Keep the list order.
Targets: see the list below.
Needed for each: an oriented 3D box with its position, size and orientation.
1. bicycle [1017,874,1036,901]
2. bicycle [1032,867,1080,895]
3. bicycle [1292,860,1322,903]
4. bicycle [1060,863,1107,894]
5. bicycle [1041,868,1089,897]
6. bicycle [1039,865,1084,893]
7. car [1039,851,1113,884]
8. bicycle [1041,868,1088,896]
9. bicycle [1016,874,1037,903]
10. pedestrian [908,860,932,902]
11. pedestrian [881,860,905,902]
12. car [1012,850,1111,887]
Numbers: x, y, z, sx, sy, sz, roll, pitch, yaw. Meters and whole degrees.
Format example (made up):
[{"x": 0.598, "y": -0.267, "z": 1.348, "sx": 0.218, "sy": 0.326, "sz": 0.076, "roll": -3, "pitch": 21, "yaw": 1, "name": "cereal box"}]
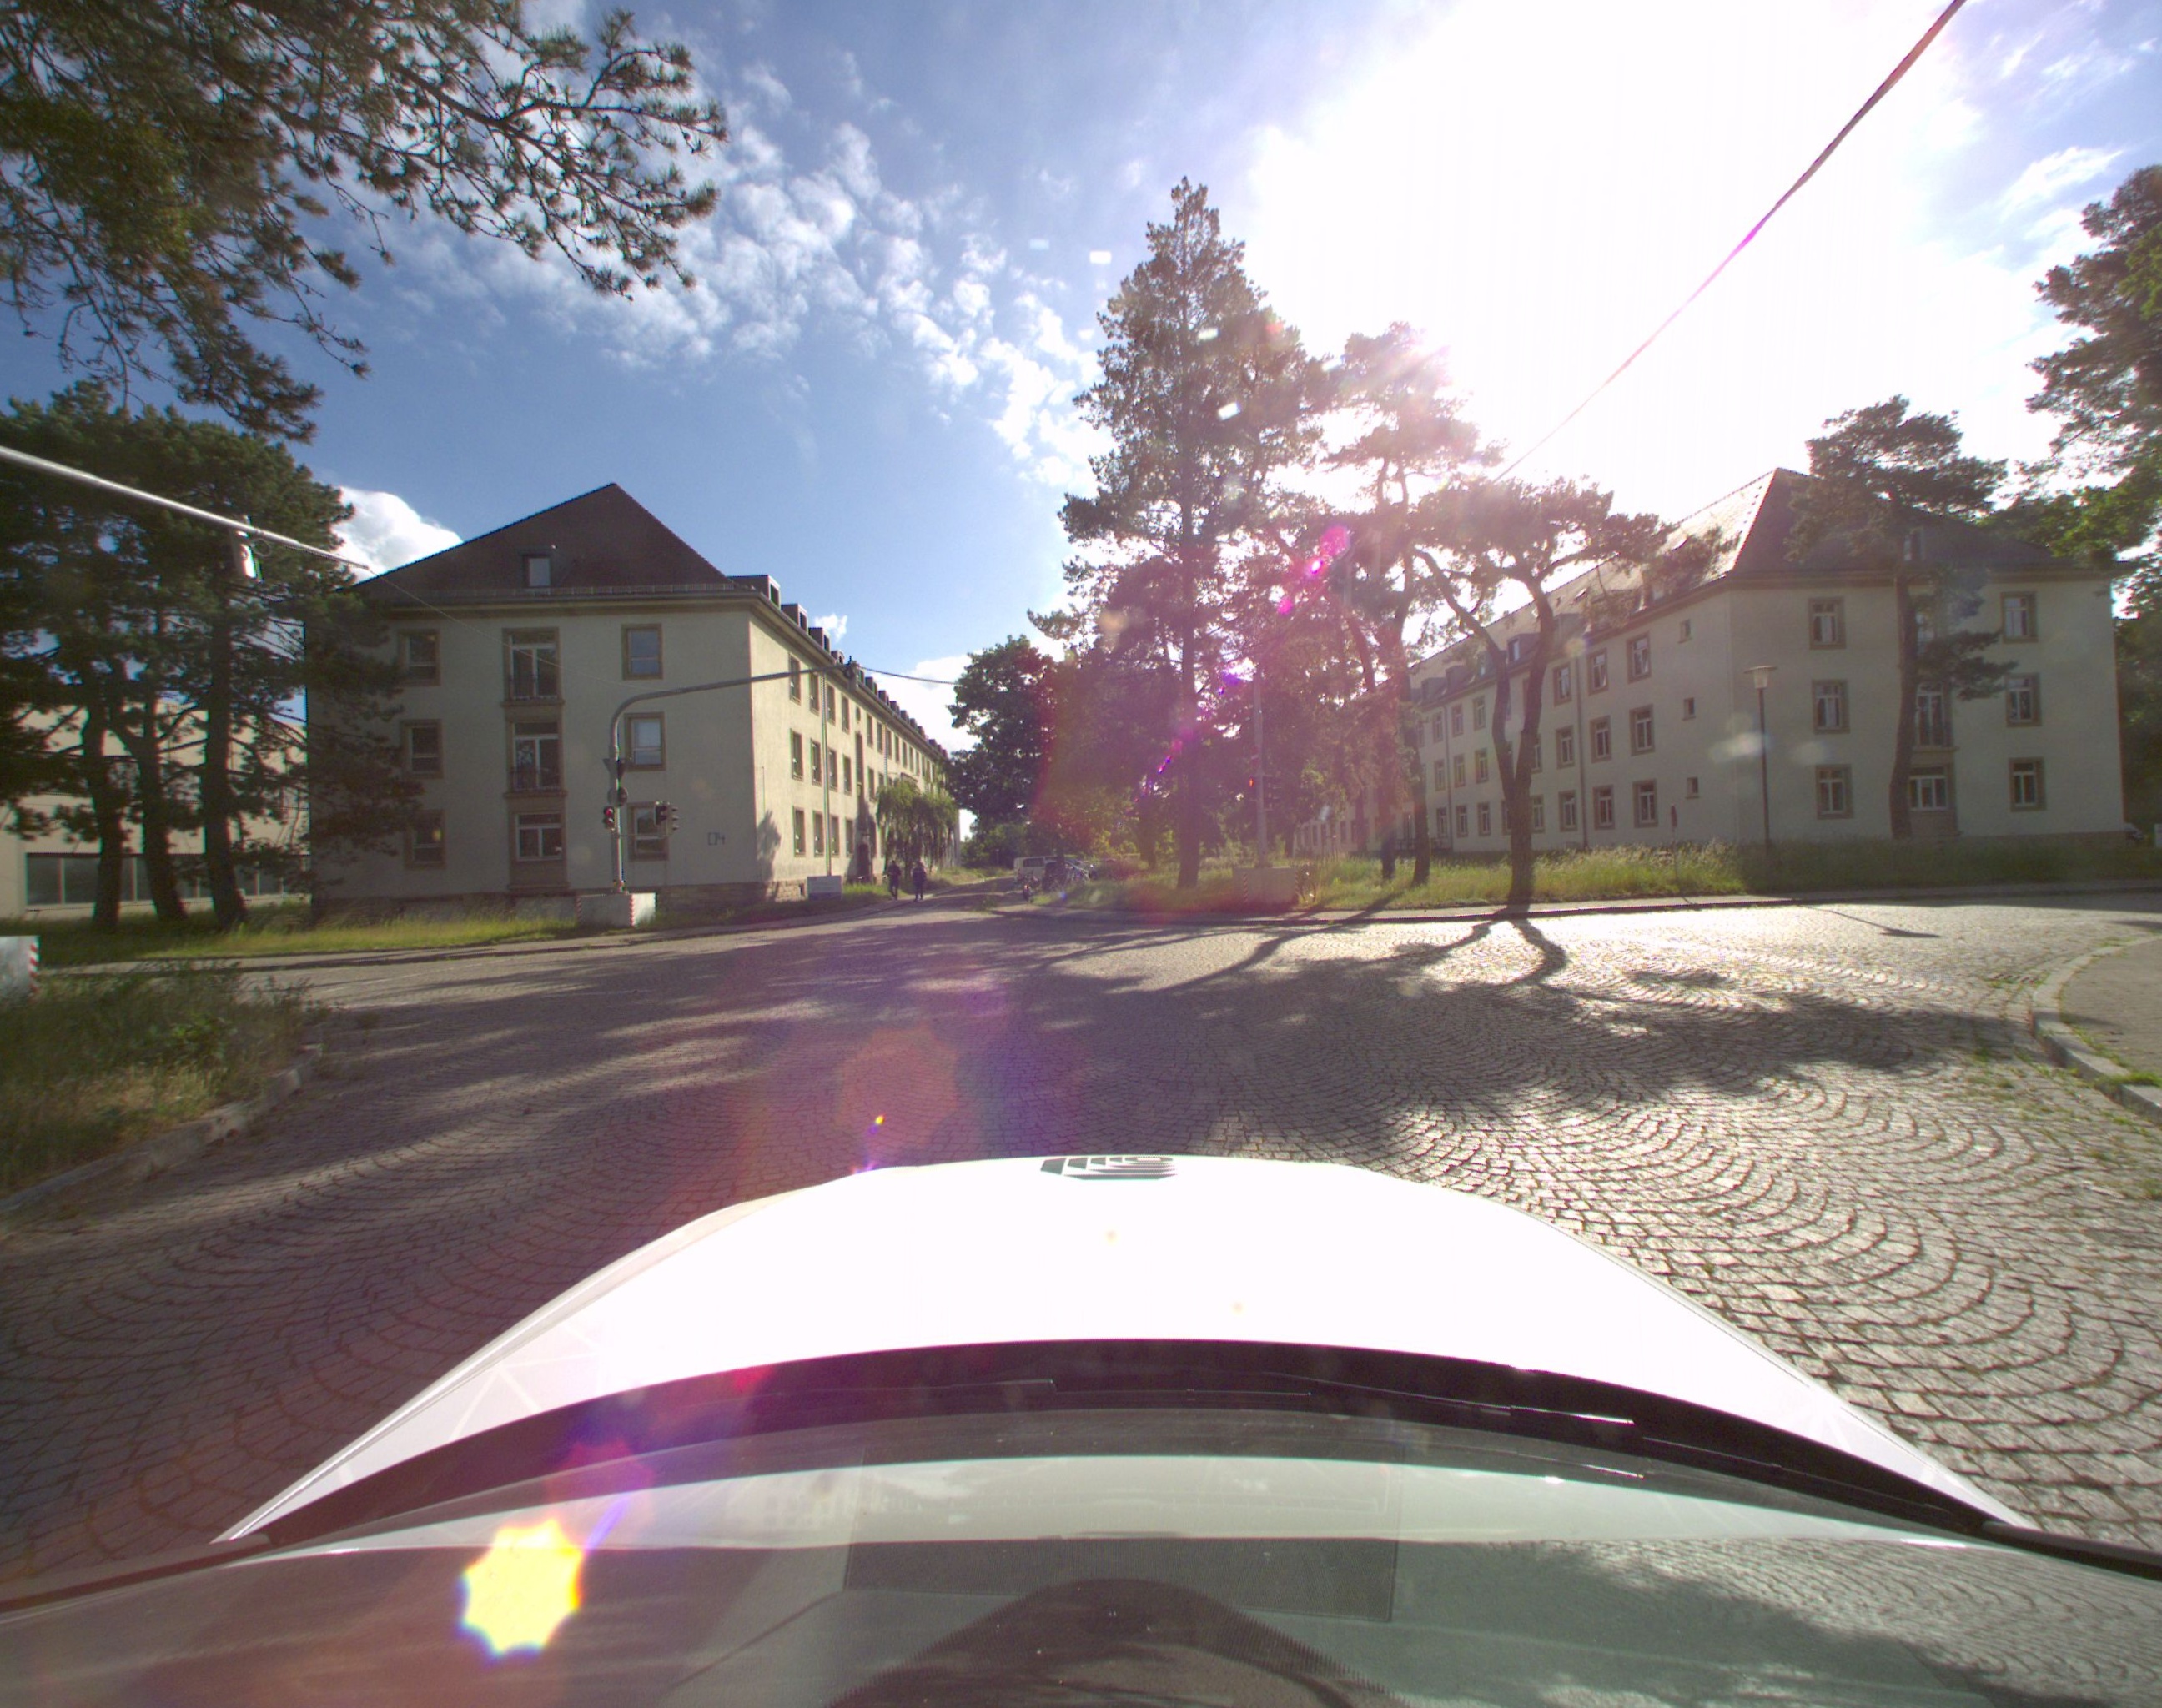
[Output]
[{"x": -2.110, "y": 1.275, "z": 31.818, "sx": 0.694, "sy": 0.971, "sz": 1.858, "roll": -2, "pitch": 0, "yaw": -4, "name": "bicycle"}, {"x": -1.080, "y": 1.160, "z": 35.408, "sx": 1.952, "sy": 1.129, "sz": 0.641, "roll": -2, "pitch": -1, "yaw": -29, "name": "bicycle"}, {"x": 5.973, "y": 0.713, "z": 21.546, "sx": 0.464, "sy": 1.080, "sz": 1.174, "roll": -2, "pitch": -1, "yaw": 2, "name": "bicycle"}, {"x": 0.088, "y": 1.046, "z": 34.940, "sx": 1.938, "sy": 1.235, "sz": 0.484, "roll": -2, "pitch": -1, "yaw": -5, "name": "bicycle"}, {"x": -0.682, "y": 1.183, "z": 34.212, "sx": 1.938, "sy": 1.129, "sz": 0.749, "roll": -2, "pitch": -1, "yaw": -5, "name": "bicycle"}, {"x": -0.874, "y": 1.115, "z": 36.516, "sx": 1.939, "sy": 1.129, "sz": 0.646, "roll": -2, "pitch": -1, "yaw": -8, "name": "bicycle"}, {"x": -0.332, "y": 0.778, "z": 47.182, "sx": 3.987, "sy": 1.684, "sz": 1.841, "roll": -2, "pitch": -1, "yaw": -10, "name": "car"}, {"x": -0.701, "y": 1.135, "z": 33.413, "sx": 1.851, "sy": 1.031, "sz": 0.749, "roll": -2, "pitch": -1, "yaw": -5, "name": "bicycle"}, {"x": -1.995, "y": 1.251, "z": 29.881, "sx": 0.694, "sy": 0.971, "sz": 1.858, "roll": -2, "pitch": 0, "yaw": -4, "name": "bicycle"}, {"x": -7.014, "y": 1.167, "z": 35.513, "sx": 0.763, "sy": 1.817, "sz": 0.684, "roll": -2, "pitch": -1, "yaw": 9, "name": "pedestrian"}, {"x": -8.218, "y": 1.178, "z": 35.607, "sx": 0.807, "sy": 1.817, "sz": 0.556, "roll": -2, "pitch": -1, "yaw": 9, "name": "pedestrian"}, {"x": -1.276, "y": 0.901, "z": 51.494, "sx": 5.929, "sy": 2.013, "sz": 2.468, "roll": -2, "pitch": 0, "yaw": -9, "name": "car"}]
